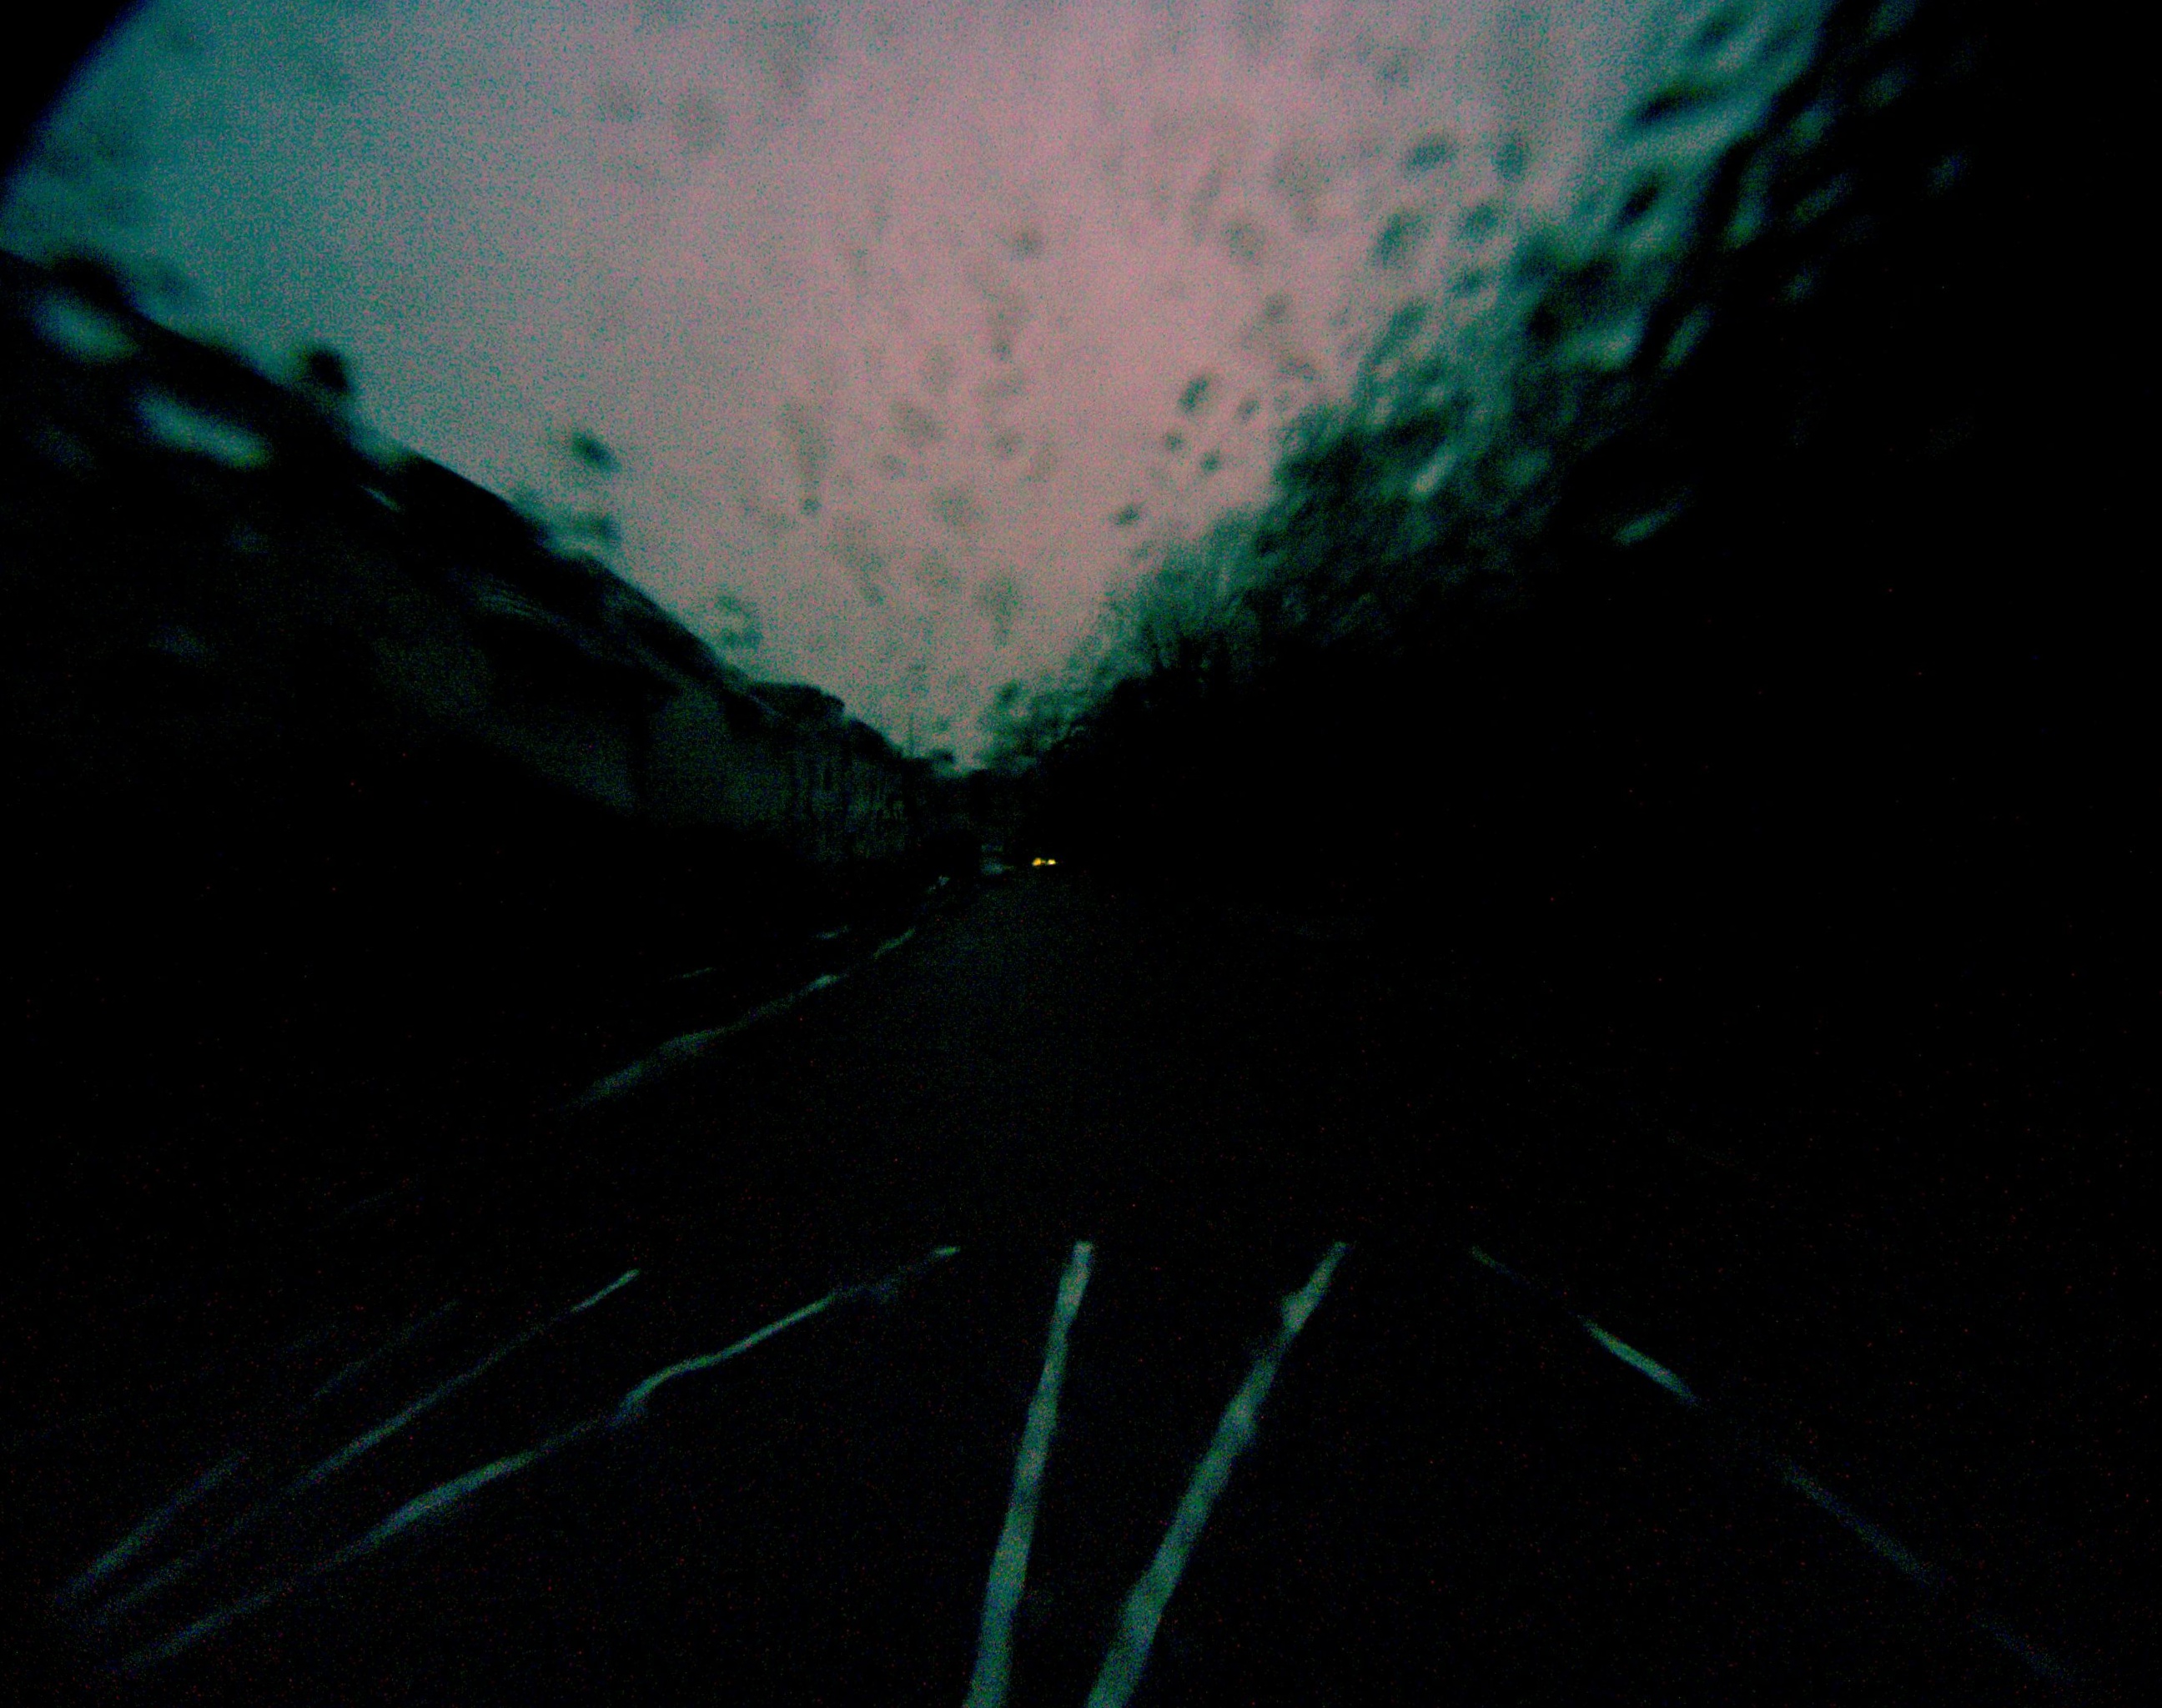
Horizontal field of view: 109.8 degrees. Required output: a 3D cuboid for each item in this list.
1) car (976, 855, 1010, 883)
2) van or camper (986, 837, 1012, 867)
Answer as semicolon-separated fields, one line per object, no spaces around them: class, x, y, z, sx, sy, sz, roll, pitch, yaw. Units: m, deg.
car;-5.068;0.816;43.430;1.743;1.421;4.453;-3;1;-7
van or camper;-7.466;-0.184;68.748;2.021;2.493;6.788;-1;0;-8
